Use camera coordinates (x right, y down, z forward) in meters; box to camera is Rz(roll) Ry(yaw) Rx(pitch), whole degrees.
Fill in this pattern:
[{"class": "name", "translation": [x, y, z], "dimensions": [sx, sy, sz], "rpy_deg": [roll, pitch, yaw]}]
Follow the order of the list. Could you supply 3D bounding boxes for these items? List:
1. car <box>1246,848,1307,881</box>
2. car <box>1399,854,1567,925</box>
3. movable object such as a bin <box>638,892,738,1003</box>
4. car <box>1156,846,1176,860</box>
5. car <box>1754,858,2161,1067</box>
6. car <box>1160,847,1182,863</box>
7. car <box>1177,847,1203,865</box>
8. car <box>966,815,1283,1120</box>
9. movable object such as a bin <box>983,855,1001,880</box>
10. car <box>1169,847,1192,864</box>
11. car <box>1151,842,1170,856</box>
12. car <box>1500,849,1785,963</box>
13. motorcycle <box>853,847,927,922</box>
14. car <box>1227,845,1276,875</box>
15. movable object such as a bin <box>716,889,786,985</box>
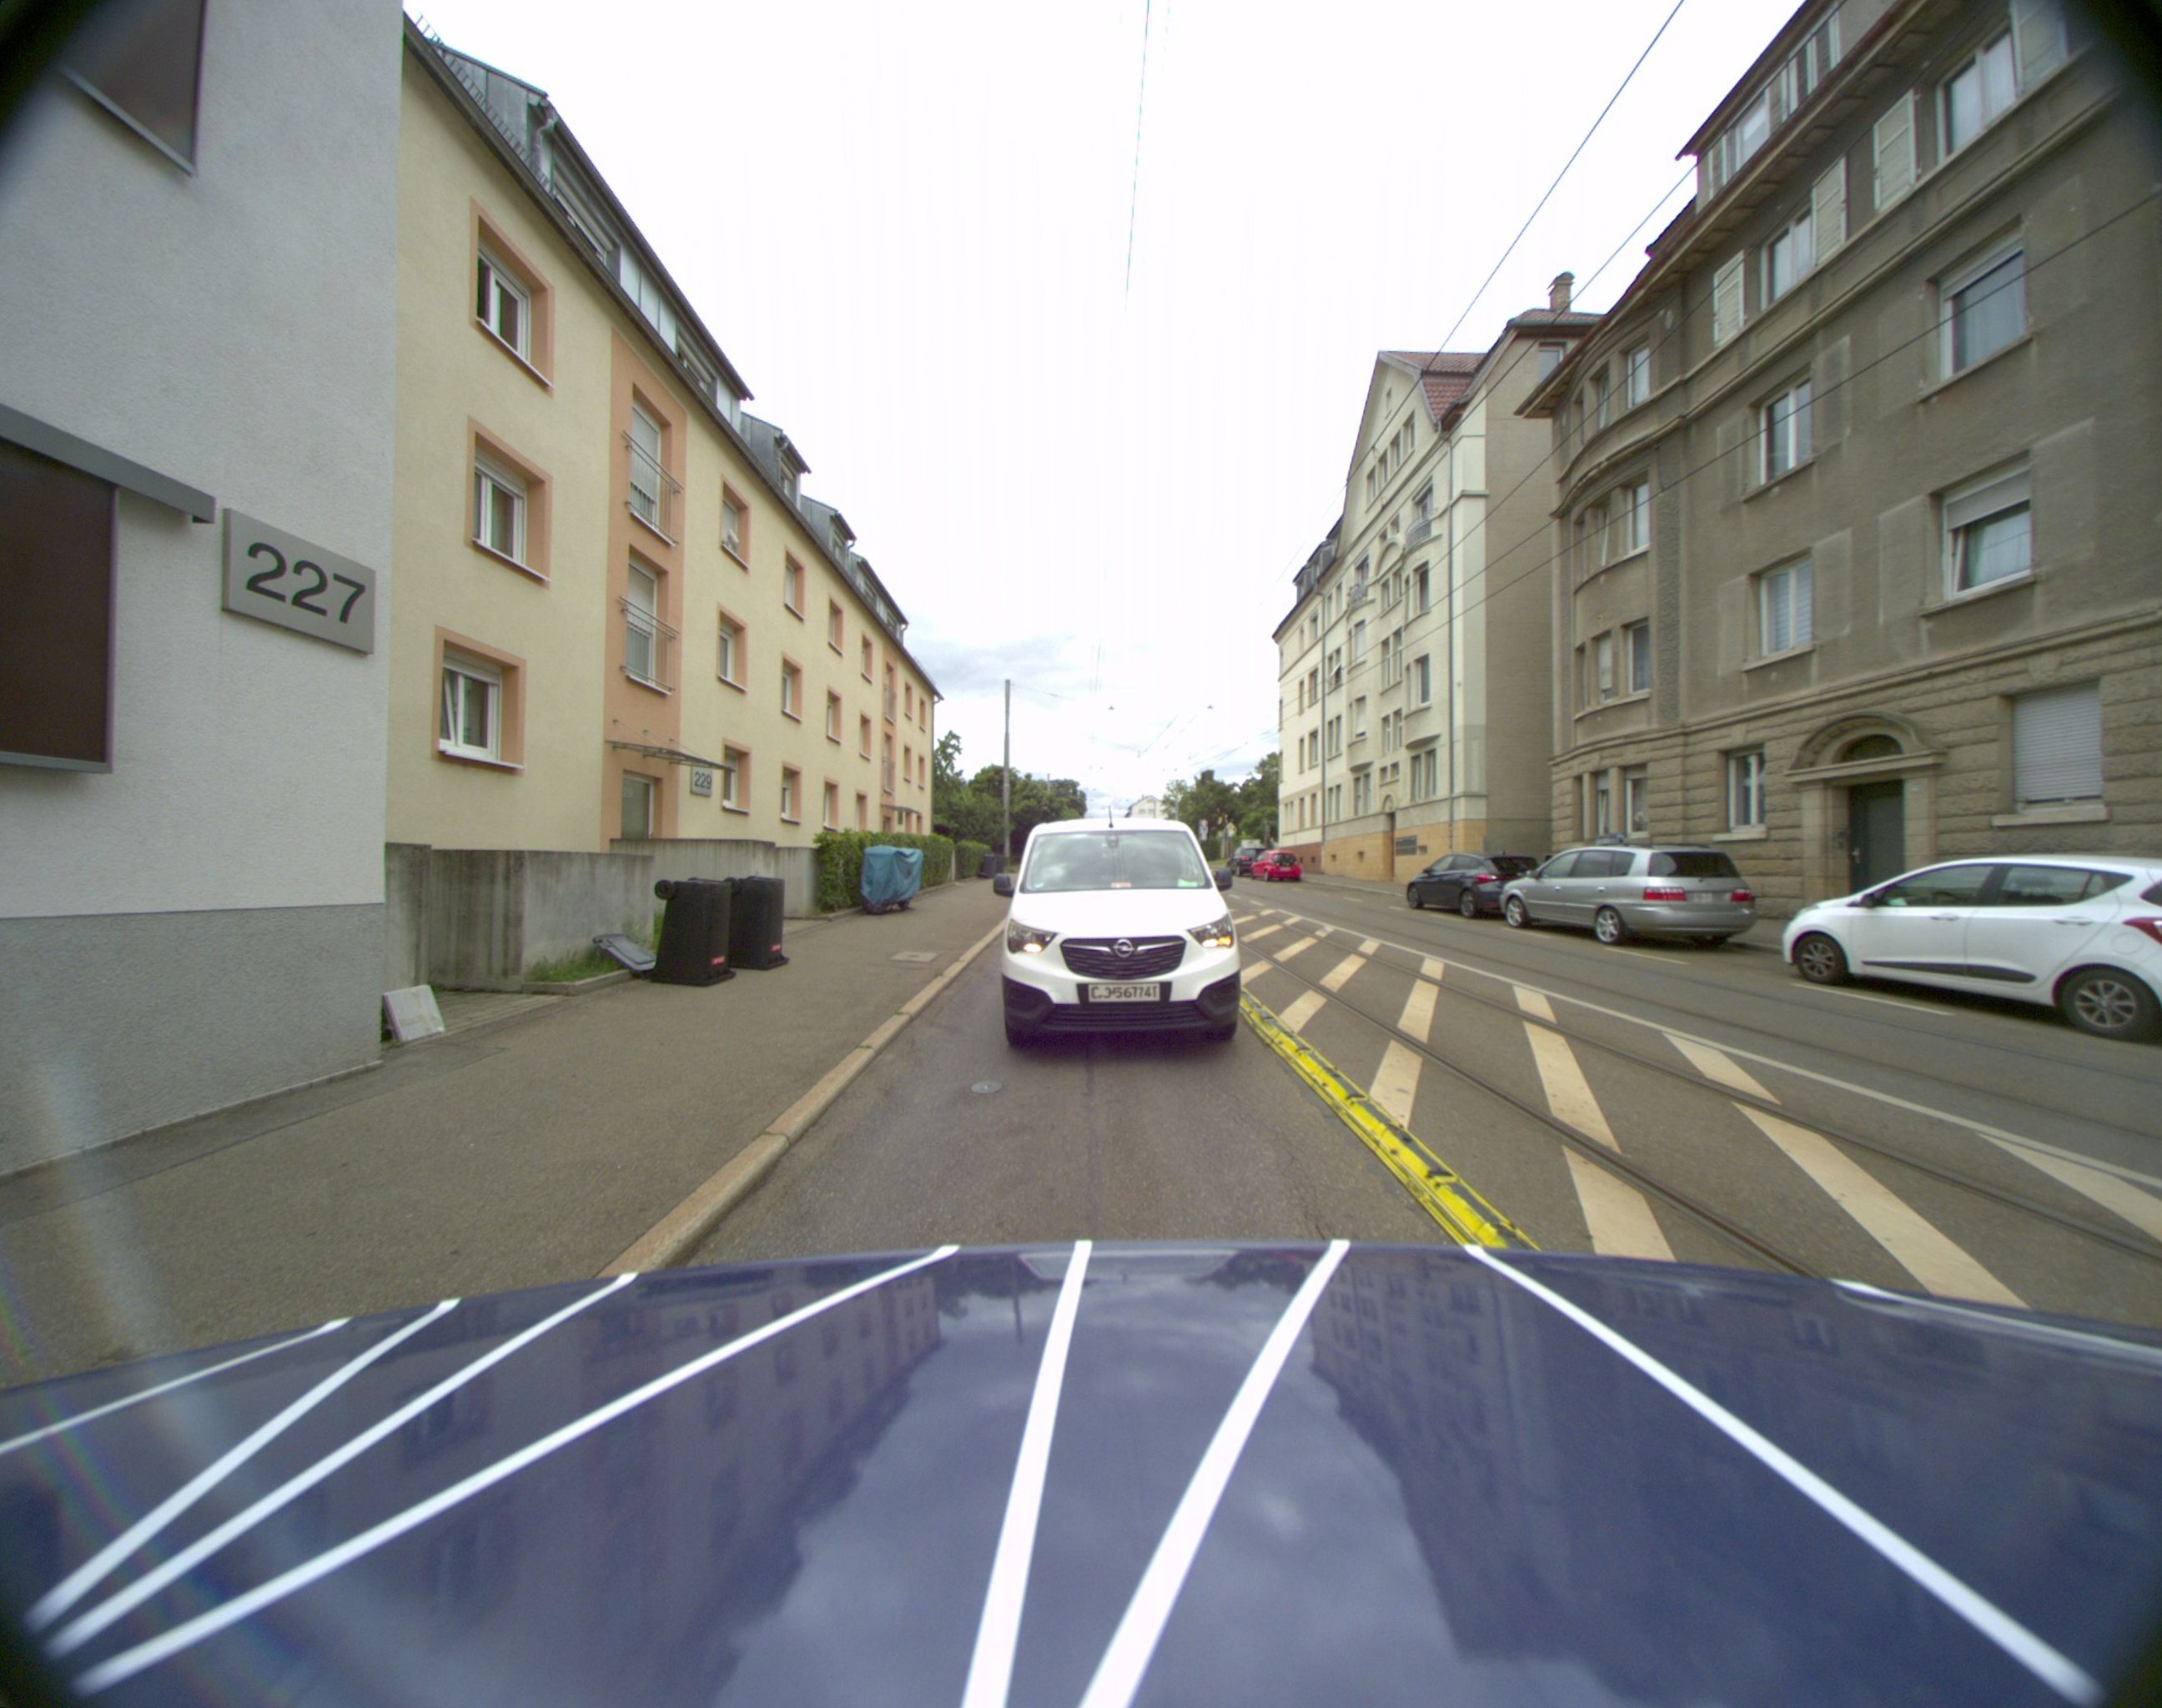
[{"class": "car", "translation": [9.435, 0.451, 36.989], "dimensions": [1.743, 1.450, 3.950], "rpy_deg": [1, 1, -4]}, {"class": "car", "translation": [9.158, 0.734, 17.718], "dimensions": [1.743, 1.373, 4.044], "rpy_deg": [-1, 1, 0]}, {"class": "movable object such as a bin", "translation": [-3.888, 0.904, 7.548], "dimensions": [0.637, 1.003, 0.602], "rpy_deg": [3, 1, 1]}, {"class": "car", "translation": [9.456, -0.130, 85.045], "dimensions": [1.743, 1.517, 3.951], "rpy_deg": [1, 1, -1]}, {"class": "car", "translation": [9.074, 0.836, 7.367], "dimensions": [1.743, 1.502, 3.800], "rpy_deg": [0, 1, 1]}, {"class": "car", "translation": [9.453, 0.077, 80.099], "dimensions": [1.743, 1.517, 3.951], "rpy_deg": [1, 1, -1]}, {"class": "car", "translation": [9.644, 0.153, 67.431], "dimensions": [1.743, 1.517, 3.951], "rpy_deg": [1, 1, -1]}, {"class": "car", "translation": [0.302, 0.662, 6.987], "dimensions": [1.888, 1.828, 4.676], "rpy_deg": [-2, 1, 1]}, {"class": "movable object such as a bin", "translation": [-3.831, 0.561, 32.738], "dimensions": [0.669, 1.053, 0.539], "rpy_deg": [-1, 1, 1]}, {"class": "car", "translation": [9.616, 0.163, 73.756], "dimensions": [1.743, 1.517, 3.951], "rpy_deg": [1, 1, 1]}, {"class": "car", "translation": [9.498, -0.632, 91.163], "dimensions": [1.743, 1.517, 3.951], "rpy_deg": [1, 1, -1]}, {"class": "car", "translation": [9.114, 0.722, 12.867], "dimensions": [1.743, 1.558, 4.142], "rpy_deg": [-1, 1, 0]}, {"class": "motorcycle", "translation": [-3.860, 0.579, 15.551], "dimensions": [0.731, 1.382, 1.937], "rpy_deg": [4, 1, 7]}, {"class": "car", "translation": [9.339, 0.306, 41.943], "dimensions": [1.743, 1.517, 3.951], "rpy_deg": [1, 1, -1]}, {"class": "movable object such as a bin", "translation": [-3.669, 0.914, 8.485], "dimensions": [0.565, 1.003, 0.498], "rpy_deg": [3, 1, -8]}]
